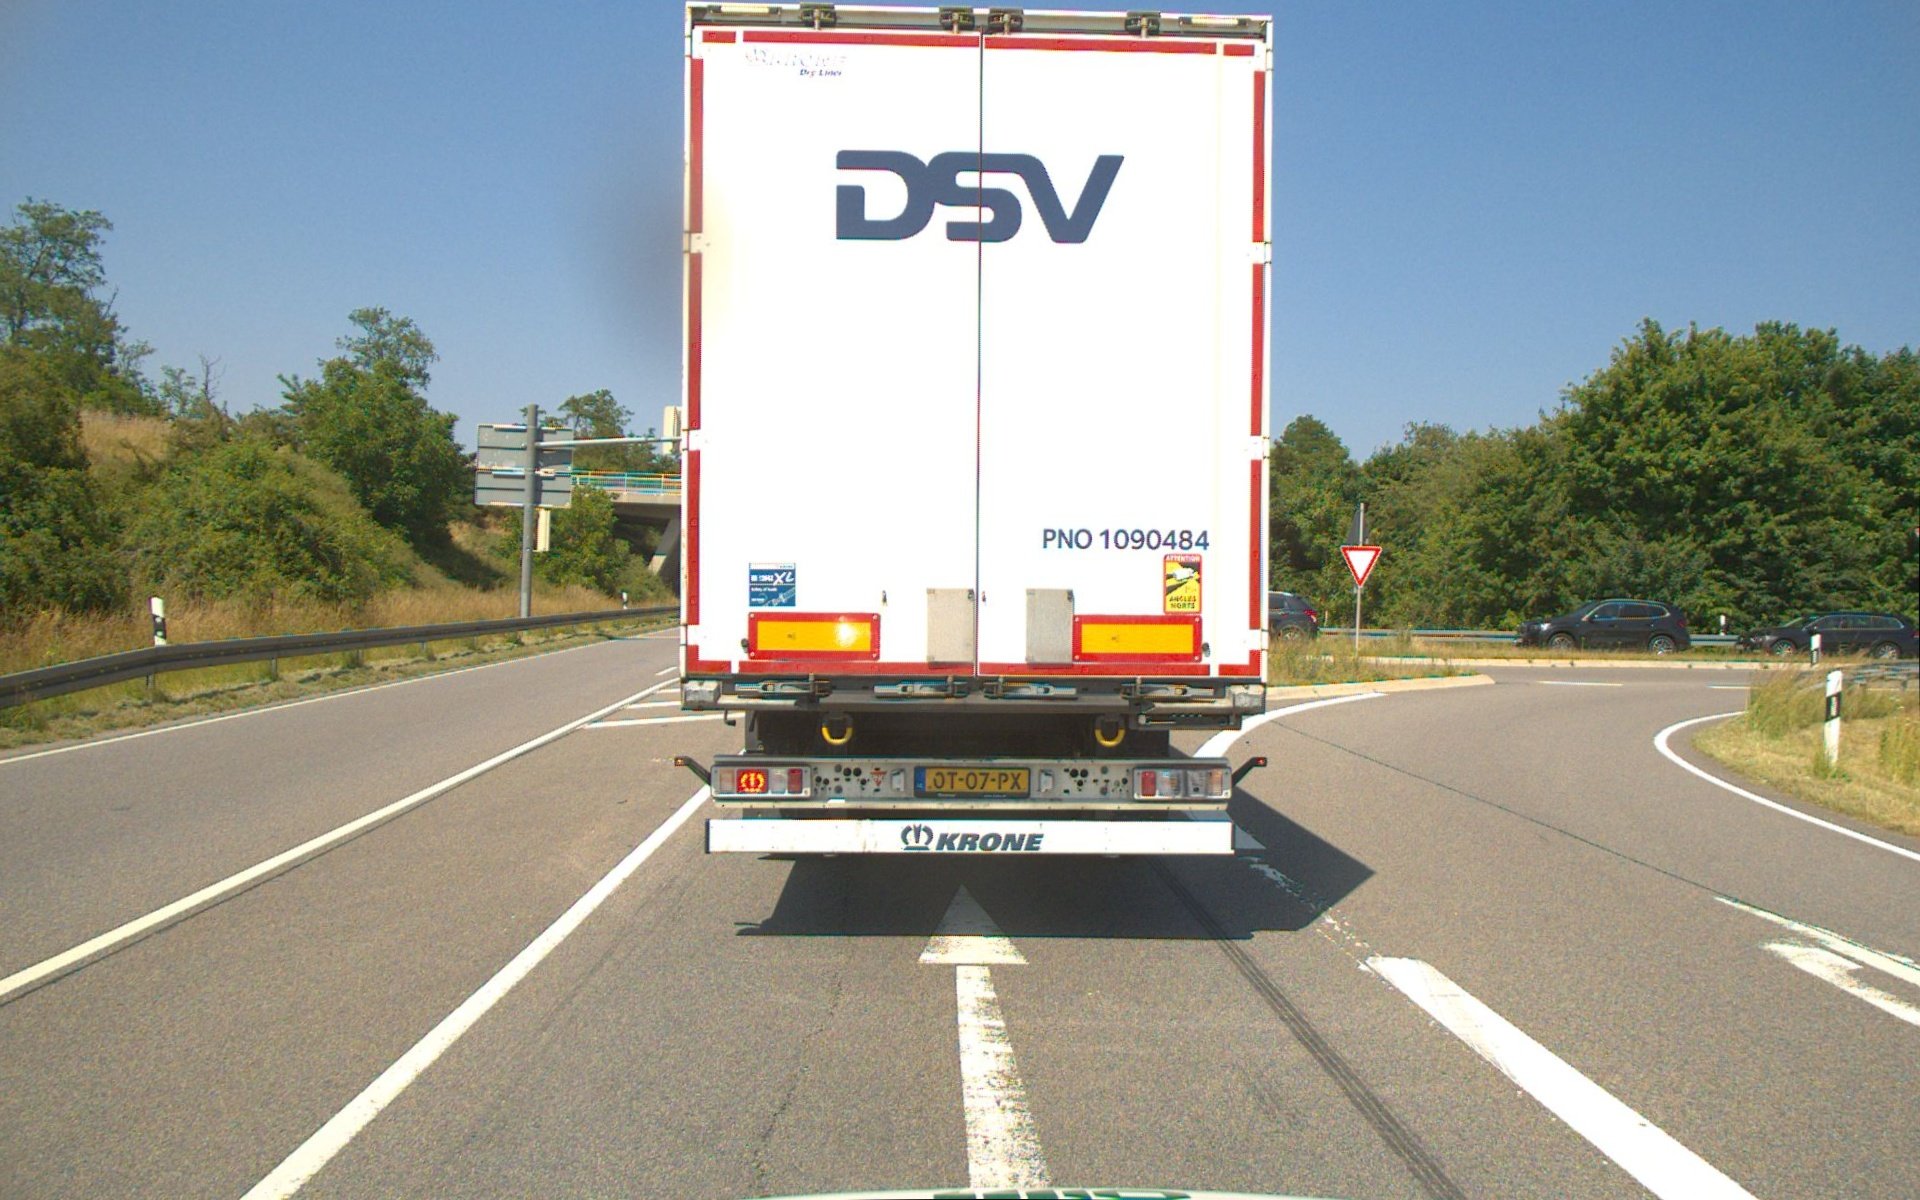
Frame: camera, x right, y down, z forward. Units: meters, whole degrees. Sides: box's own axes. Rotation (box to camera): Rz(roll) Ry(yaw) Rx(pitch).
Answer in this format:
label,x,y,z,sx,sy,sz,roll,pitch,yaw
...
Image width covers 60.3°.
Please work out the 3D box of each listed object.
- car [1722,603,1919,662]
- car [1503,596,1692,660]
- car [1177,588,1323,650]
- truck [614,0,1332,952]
label,x,y,z,sx,sy,sz,roll,pitch,yaw
car,23.831,0.898,45.804,4.583,1.540,1.854,1,-1,6
car,17.044,0.747,44.384,4.393,1.626,1.768,1,-1,2
car,8.123,0.533,46.652,3.901,1.669,1.842,1,-1,5
truck,-0.051,-0.559,11.781,2.927,4.011,9.872,1,0,-1
